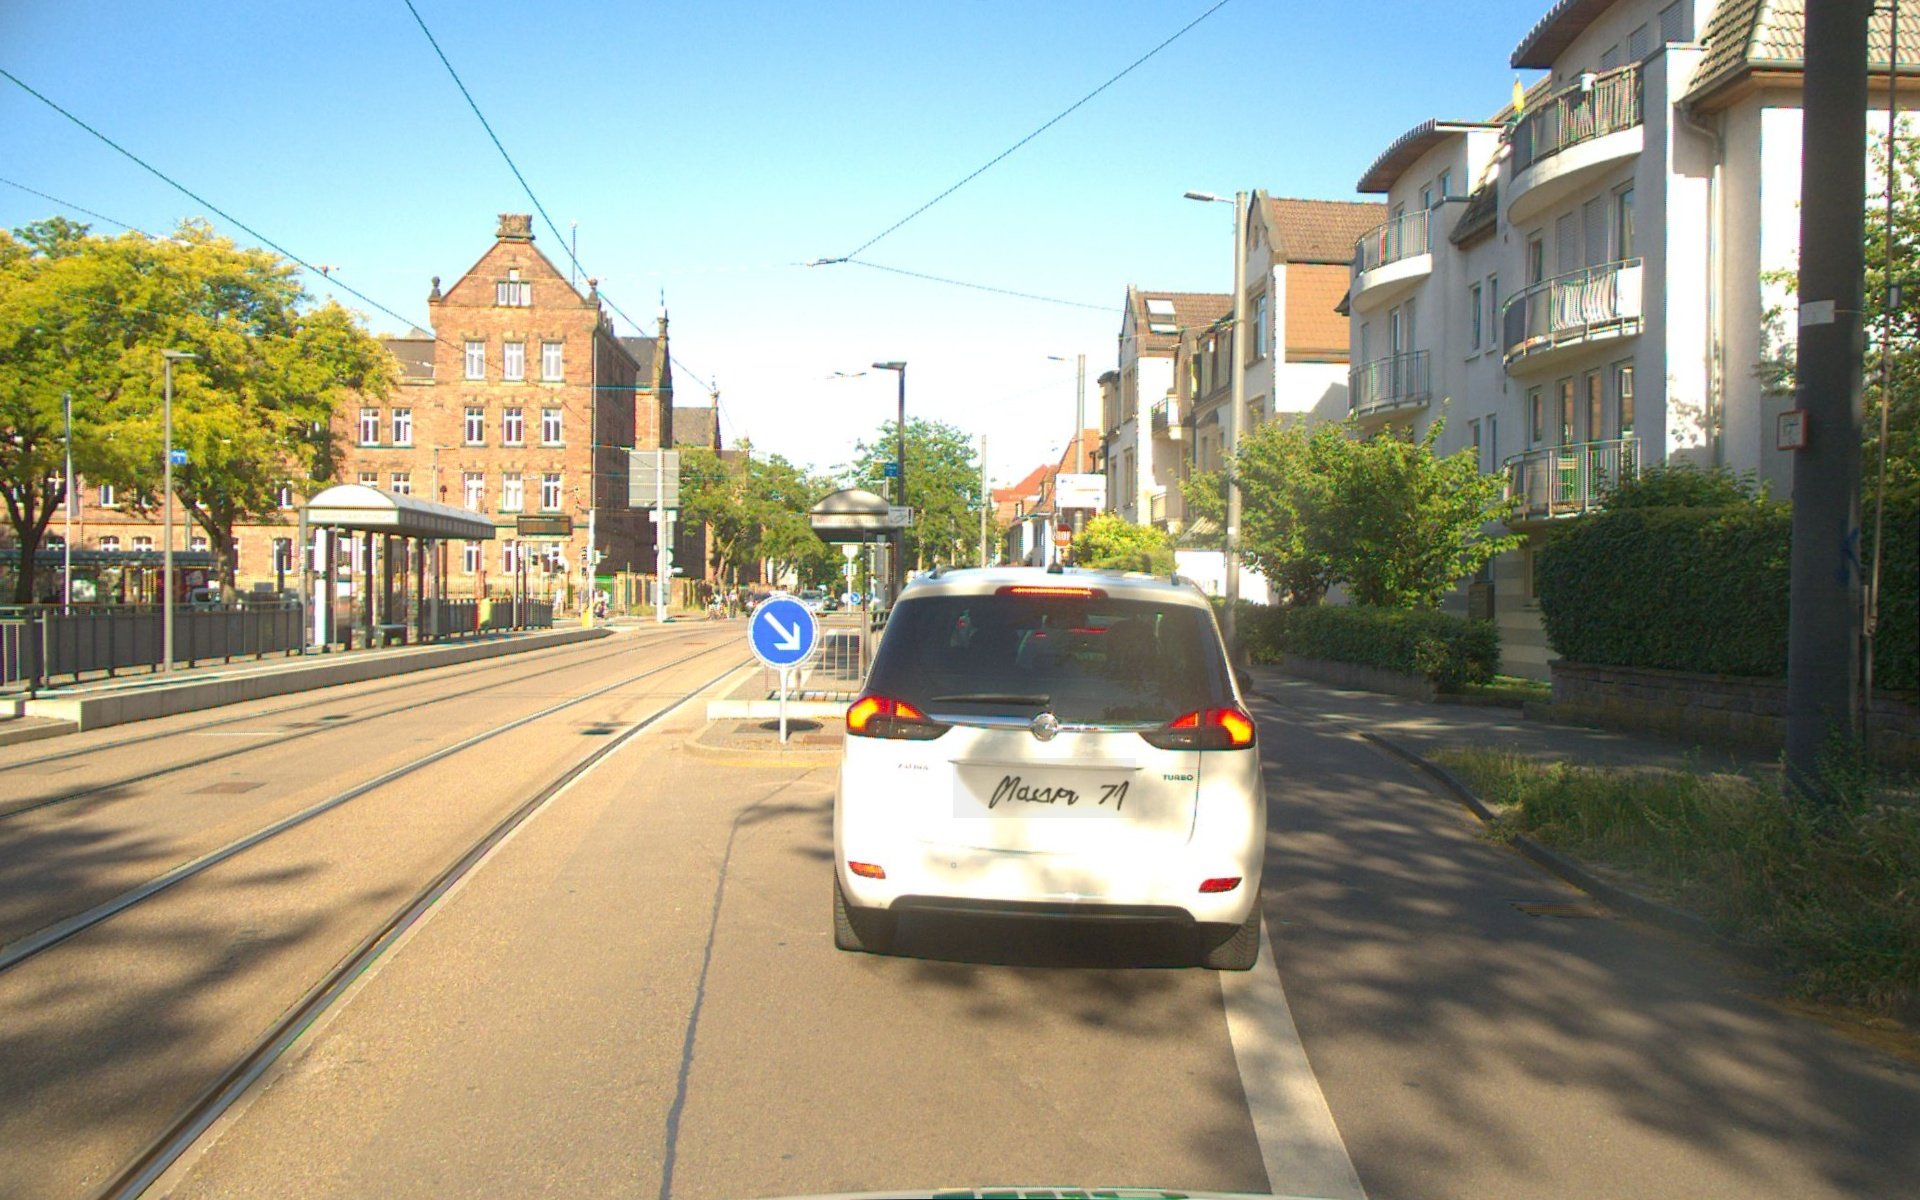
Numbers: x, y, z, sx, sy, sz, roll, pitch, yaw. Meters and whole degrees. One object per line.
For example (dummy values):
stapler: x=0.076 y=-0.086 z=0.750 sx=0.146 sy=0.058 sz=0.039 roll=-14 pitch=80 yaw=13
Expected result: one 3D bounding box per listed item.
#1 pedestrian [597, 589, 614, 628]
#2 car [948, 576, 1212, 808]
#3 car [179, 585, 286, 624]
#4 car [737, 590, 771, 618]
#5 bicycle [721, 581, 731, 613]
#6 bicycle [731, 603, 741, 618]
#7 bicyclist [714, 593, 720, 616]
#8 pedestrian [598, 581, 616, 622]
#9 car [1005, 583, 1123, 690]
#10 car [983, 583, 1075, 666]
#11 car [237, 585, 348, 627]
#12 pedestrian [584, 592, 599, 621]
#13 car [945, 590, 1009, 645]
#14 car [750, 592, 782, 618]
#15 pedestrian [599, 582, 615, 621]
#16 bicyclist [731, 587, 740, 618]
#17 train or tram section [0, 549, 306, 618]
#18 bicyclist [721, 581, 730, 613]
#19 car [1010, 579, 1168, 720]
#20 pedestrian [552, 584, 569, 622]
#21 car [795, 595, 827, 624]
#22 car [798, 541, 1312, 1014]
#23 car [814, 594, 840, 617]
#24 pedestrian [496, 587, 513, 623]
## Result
pedestrian: x=-18.796 y=0.454 z=87.674 sx=0.781 sy=2.049 sz=1.042 roll=1 pitch=-1 yaw=-15
car: x=1.071 y=0.642 z=13.778 sx=1.866 sy=1.625 sz=4.003 roll=0 pitch=0 yaw=6
car: x=-32.443 y=0.211 z=73.823 sx=3.908 sy=1.658 sz=1.817 roll=1 pitch=0 yaw=-4
car: x=-13.141 y=0.280 z=105.783 sx=1.711 sy=1.746 sz=3.999 roll=1 pitch=0 yaw=-1
bicycle: x=-15.391 y=-0.189 z=108.674 sx=0.477 sy=2.049 sz=1.405 roll=0 pitch=0 yaw=-1
bicycle: x=-15.086 y=0.678 z=111.271 sx=0.477 sy=0.988 sz=1.405 roll=1 pitch=0 yaw=-1
bicyclist: x=-15.028 y=0.278 z=102.392 sx=0.307 sy=1.469 sz=0.384 roll=0 pitch=0 yaw=-1
pedestrian: x=-18.079 y=0.078 z=84.696 sx=0.782 sy=2.049 sz=0.717 roll=1 pitch=-1 yaw=-18
car: x=1.792 y=0.570 z=28.290 sx=1.867 sy=1.690 sz=4.002 roll=0 pitch=0 yaw=4
car: x=1.449 y=0.496 z=36.123 sx=1.868 sy=1.690 sz=4.000 roll=0 pitch=0 yaw=0
car: x=-28.112 y=0.258 z=69.750 sx=3.908 sy=1.658 sz=1.817 roll=1 pitch=0 yaw=-4
pedestrian: x=-21.119 y=0.347 z=94.792 sx=0.640 sy=1.640 sz=0.711 roll=1 pitch=-1 yaw=6
car: x=0.506 y=0.546 z=53.086 sx=1.869 sy=1.690 sz=3.998 roll=0 pitch=0 yaw=-2
car: x=-13.302 y=0.343 z=113.502 sx=1.711 sy=1.746 sz=3.999 roll=1 pitch=0 yaw=-1
pedestrian: x=-18.962 y=0.075 z=88.938 sx=0.782 sy=2.049 sz=0.718 roll=1 pitch=-1 yaw=-15
bicyclist: x=-15.082 y=0.155 z=111.247 sx=0.478 sy=2.049 sz=0.502 roll=1 pitch=-1 yaw=-1
train or tram section: x=-40.745 y=-0.771 z=79.425 sx=17.048 sy=3.210 sz=3.343 roll=0 pitch=0 yaw=-6
bicyclist: x=-15.390 y=-0.189 z=108.707 sx=0.488 sy=2.049 sz=0.572 roll=0 pitch=0 yaw=-1
car: x=1.752 y=0.579 z=21.629 sx=1.866 sy=1.653 sz=4.003 roll=0 pitch=0 yaw=6
pedestrian: x=-21.674 y=0.151 z=89.710 sx=0.679 sy=2.049 sz=0.614 roll=0 pitch=-1 yaw=41
car: x=-9.413 y=0.596 z=104.708 sx=1.711 sy=1.746 sz=3.999 roll=1 pitch=0 yaw=-1
car: x=0.552 y=0.626 z=8.026 sx=1.866 sy=1.690 sz=4.003 roll=0 pitch=0 yaw=6
car: x=-10.352 y=0.426 z=128.903 sx=1.711 sy=1.746 sz=3.999 roll=1 pitch=0 yaw=-1
pedestrian: x=-23.297 y=0.240 z=84.612 sx=0.754 sy=1.805 sz=0.717 roll=1 pitch=-1 yaw=-18
